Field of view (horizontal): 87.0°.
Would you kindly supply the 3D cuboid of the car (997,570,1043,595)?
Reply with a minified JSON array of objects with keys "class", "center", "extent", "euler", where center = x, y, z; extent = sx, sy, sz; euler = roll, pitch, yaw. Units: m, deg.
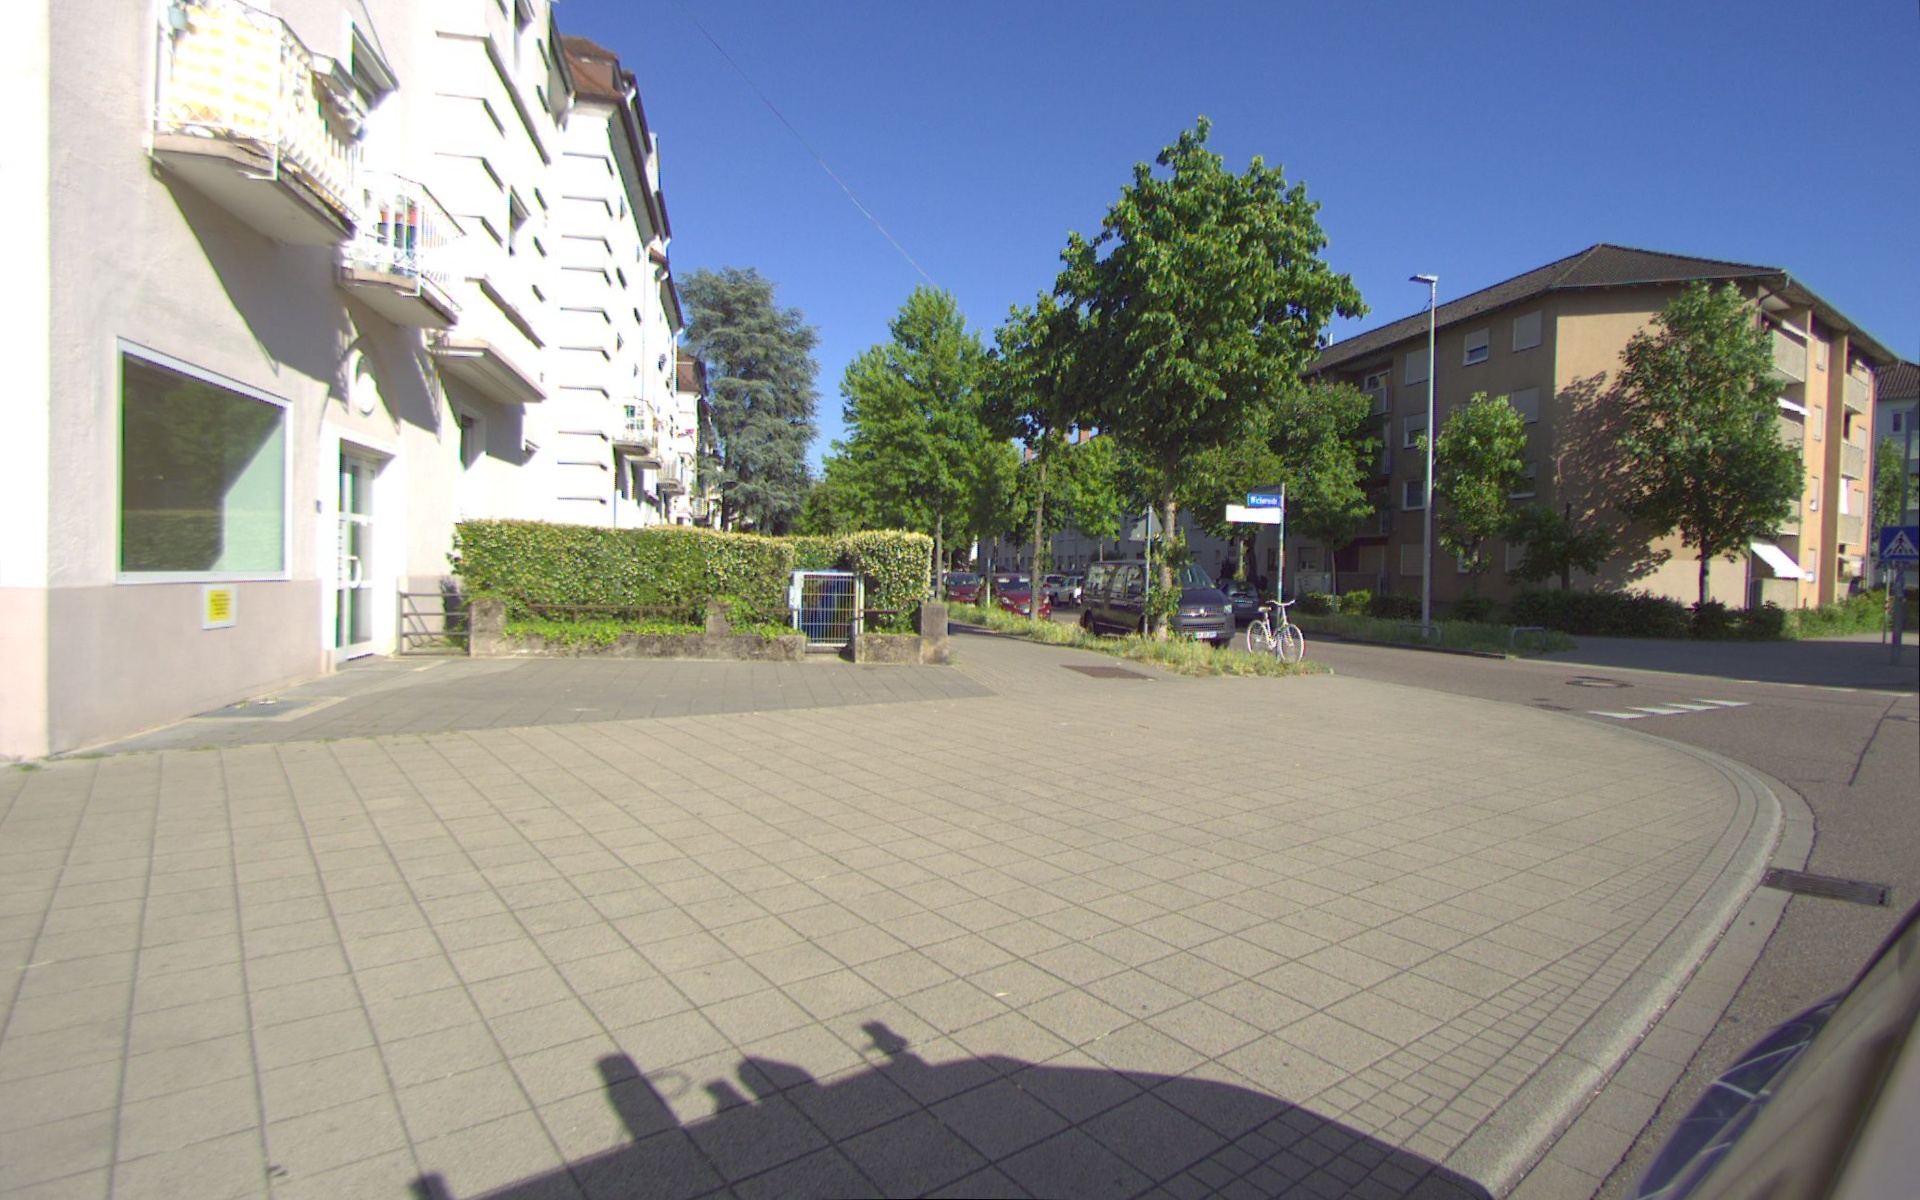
[{"class":"car","center":[3.531,-1.092,60.262],"extent":[1.628,1.409,4.246],"euler":[1,2,-12]}]

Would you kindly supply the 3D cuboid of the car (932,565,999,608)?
[{"class":"car","center":[0.157,-0.628,43.433],"extent":[1.896,1.586,4.604],"euler":[3,2,-12]}]

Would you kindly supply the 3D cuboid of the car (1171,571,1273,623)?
[{"class":"car","center":[8.948,-0.162,34.930],"extent":[1.689,1.581,4.118],"euler":[1,2,-13]}]

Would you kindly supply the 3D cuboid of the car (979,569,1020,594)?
[{"class":"car","center":[2.528,-1.197,64.959],"extent":[1.619,1.462,3.977],"euler":[2,2,-12]}]

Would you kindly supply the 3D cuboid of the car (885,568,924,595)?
[{"class":"car","center":[-3.327,-1.114,59.626],"extent":[1.577,1.482,3.881],"euler":[-2,3,-14]}]

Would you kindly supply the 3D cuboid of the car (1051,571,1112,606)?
[{"class":"car","center":[5.886,-0.610,49.362],"extent":[1.686,1.545,4.010],"euler":[-2,3,-13]}]

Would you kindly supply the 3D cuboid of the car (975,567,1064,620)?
[{"class":"car","center":[1.957,-0.280,34.820],"extent":[1.865,1.633,4.983],"euler":[0,3,-11]}]

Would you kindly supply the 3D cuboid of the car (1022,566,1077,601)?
[{"class":"car","center":[4.767,-0.927,54.516],"extent":[1.673,1.700,4.234],"euler":[2,2,-12]}]

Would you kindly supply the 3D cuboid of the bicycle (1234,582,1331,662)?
[{"class":"bicycle","center":[5.412,0.332,17.118],"extent":[0.518,1.208,2.035],"euler":[0,2,-16]}]

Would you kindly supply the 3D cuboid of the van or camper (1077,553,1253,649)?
[{"class":"van or camper","center":[4.480,-0.106,23.134],"extent":[1.954,1.885,5.399],"euler":[-1,3,-12]}]
